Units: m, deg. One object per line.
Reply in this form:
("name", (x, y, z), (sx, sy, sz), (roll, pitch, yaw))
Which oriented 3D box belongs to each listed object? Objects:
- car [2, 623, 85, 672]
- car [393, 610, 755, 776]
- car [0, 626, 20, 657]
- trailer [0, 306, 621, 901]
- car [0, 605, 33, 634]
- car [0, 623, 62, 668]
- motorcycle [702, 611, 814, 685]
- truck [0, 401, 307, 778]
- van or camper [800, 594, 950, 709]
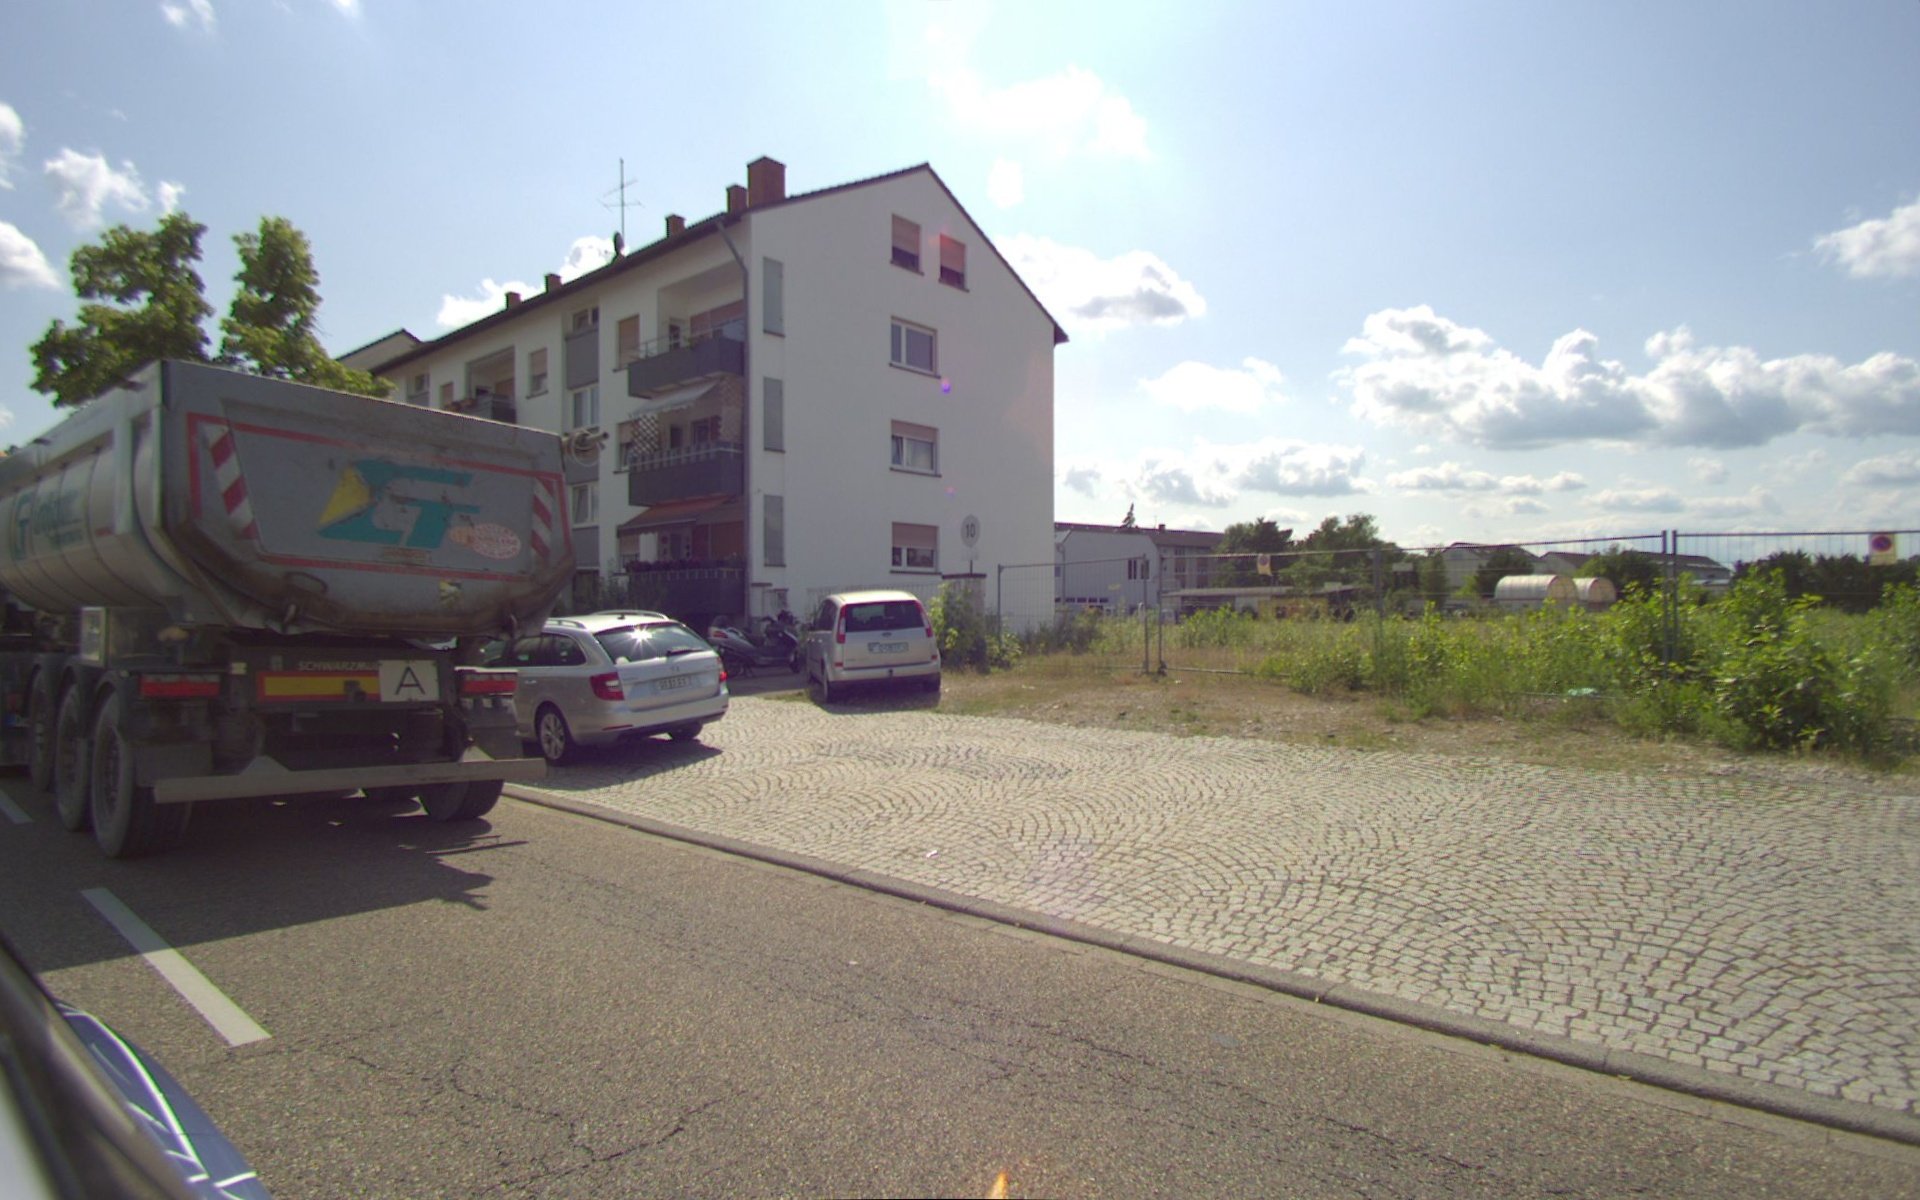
("car", (-31.212, 1.572, 34.419), (4.464, 1.447, 1.670), (-1, 2, 43))
("car", (-4.621, 0.971, 11.746), (4.703, 1.472, 1.732), (-3, 1, 39))
("car", (-47.417, 2.077, 49.625), (1.734, 1.429, 4.002), (-5, 3, -44))
("trailer", (-6.819, 0.089, 9.159), (8.879, 3.092, 2.806), (-1, -1, 39))
("car", (-53.731, 1.124, 57.247), (1.733, 1.499, 3.687), (-5, 2, -42))
("car", (-35.525, 1.692, 38.176), (4.627, 1.488, 1.714), (-2, 1, 40))
("motorcycle", (-3.808, 0.880, 19.230), (0.677, 1.258, 2.071), (-1, 1, 41))
("truck", (-10.494, -0.040, 12.251), (5.877, 3.525, 2.745), (-1, -2, 40))
("van or camper", (-1.485, 0.706, 16.149), (1.751, 1.554, 4.011), (-2, 0, -14))
